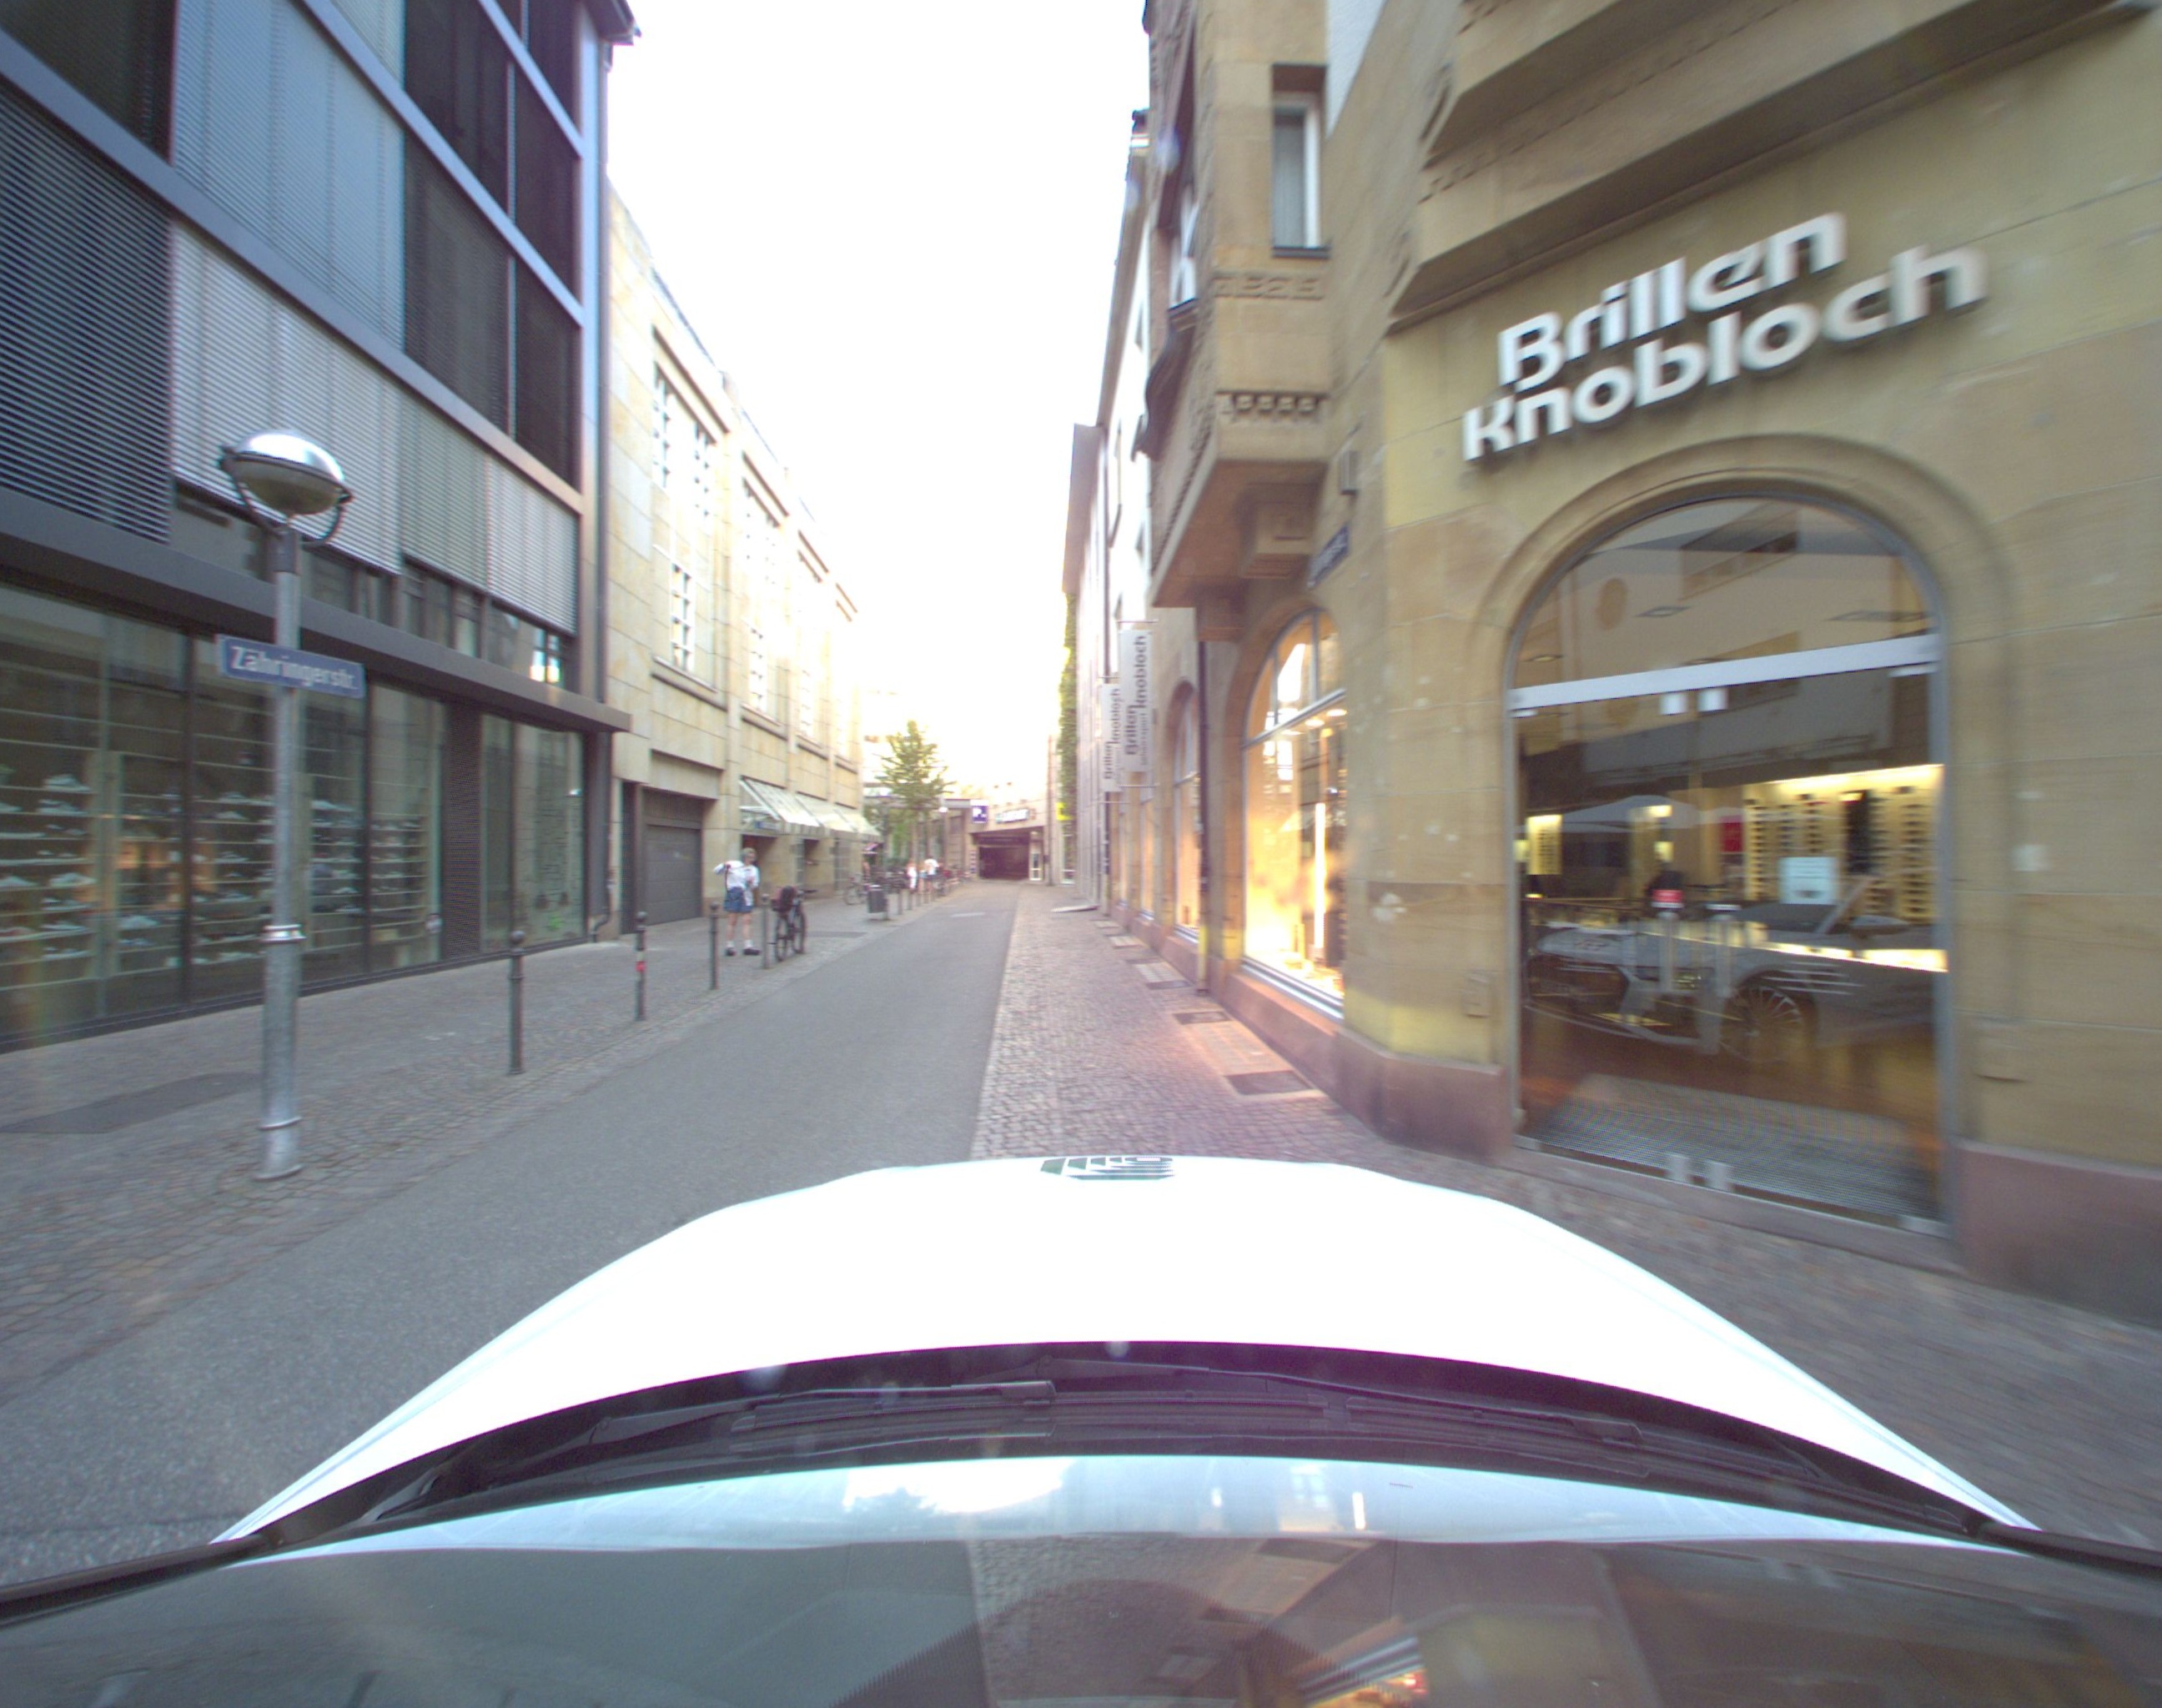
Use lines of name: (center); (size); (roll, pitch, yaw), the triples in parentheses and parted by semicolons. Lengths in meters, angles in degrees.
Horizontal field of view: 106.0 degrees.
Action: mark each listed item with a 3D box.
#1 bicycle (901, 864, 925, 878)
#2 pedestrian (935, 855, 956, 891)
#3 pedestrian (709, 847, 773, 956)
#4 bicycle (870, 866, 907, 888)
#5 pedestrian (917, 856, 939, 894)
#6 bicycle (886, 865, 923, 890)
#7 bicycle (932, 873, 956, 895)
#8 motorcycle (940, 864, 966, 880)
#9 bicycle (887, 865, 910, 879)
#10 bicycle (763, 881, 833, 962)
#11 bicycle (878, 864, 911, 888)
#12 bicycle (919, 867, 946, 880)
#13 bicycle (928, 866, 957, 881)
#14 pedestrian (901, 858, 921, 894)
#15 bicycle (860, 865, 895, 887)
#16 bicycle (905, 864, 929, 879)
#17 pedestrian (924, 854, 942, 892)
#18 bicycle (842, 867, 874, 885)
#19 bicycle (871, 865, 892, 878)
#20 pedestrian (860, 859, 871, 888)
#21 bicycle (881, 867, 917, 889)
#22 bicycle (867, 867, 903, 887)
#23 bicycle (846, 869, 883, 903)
bicycle: (-13.335, 1.355, 64.575); (1.782, 1.114, 0.538); (-1, -1, -25)
pedestrian: (-6.769, 0.937, 40.817); (0.781, 1.795, 0.973); (-1, 0, 5)
pedestrian: (-5.457, 0.751, 13.109); (0.766, 1.718, 0.591); (1, -1, -5)
bicycle: (-10.733, 1.269, 45.444); (1.882, 1.177, 0.529); (-1, 0, -27)
pedestrian: (-7.079, 0.978, 37.807); (0.803, 1.729, 0.949); (0, -1, 2)
bicycle: (-9.181, 1.210, 42.450); (1.776, 1.231, 0.529); (-1, 0, -27)
bicycle: (-6.096, 1.330, 36.254); (0.490, 0.939, 1.664); (0, 0, 11)
motorcycle: (-8.575, 1.218, 54.688); (1.671, 1.050, 0.460); (-1, -1, -25)
bicycle: (-14.938, 1.468, 66.695); (1.782, 1.114, 0.538); (-1, -1, -25)
bicycle: (-4.566, 1.053, 13.261); (0.531, 1.154, 1.912); (1, 0, -3)
bicycle: (-9.988, 1.194, 43.661); (1.663, 1.231, 0.529); (-1, 0, -27)
bicycle: (-10.416, 1.370, 57.008); (1.782, 0.904, 0.460); (-1, 0, -25)
bicycle: (-9.560, 1.344, 56.231); (1.857, 0.982, 0.460); (-1, -1, -25)
pedestrian: (-7.878, 1.010, 37.804); (0.671, 1.664, 0.861); (-1, -1, 4)
bicycle: (-11.617, 1.240, 46.574); (1.843, 1.225, 0.529); (-1, 0, -27)
bicycle: (-12.796, 1.354, 63.558); (1.782, 1.114, 0.538); (-1, -1, -25)
pedestrian: (-7.112, 0.898, 39.214); (0.741, 1.822, 0.876); (-1, -1, -6)
bicycle: (-14.212, 1.384, 51.901); (1.835, 1.043, 0.529); (-1, 0, -27)
bicycle: (-17.718, 1.509, 72.240); (1.780, 1.114, 0.539); (-1, -1, -22)
pedestrian: (-11.030, 0.984, 41.709); (0.477, 1.471, 0.411); (0, -1, -26)
bicycle: (-9.936, 1.307, 44.558); (1.846, 1.122, 0.529); (-1, 0, -27)
bicycle: (-11.049, 1.310, 45.948); (1.904, 1.052, 0.529); (-1, 0, -27)
bicycle: (-7.783, 1.145, 29.284); (0.518, 1.138, 1.770); (-1, 0, 12)
